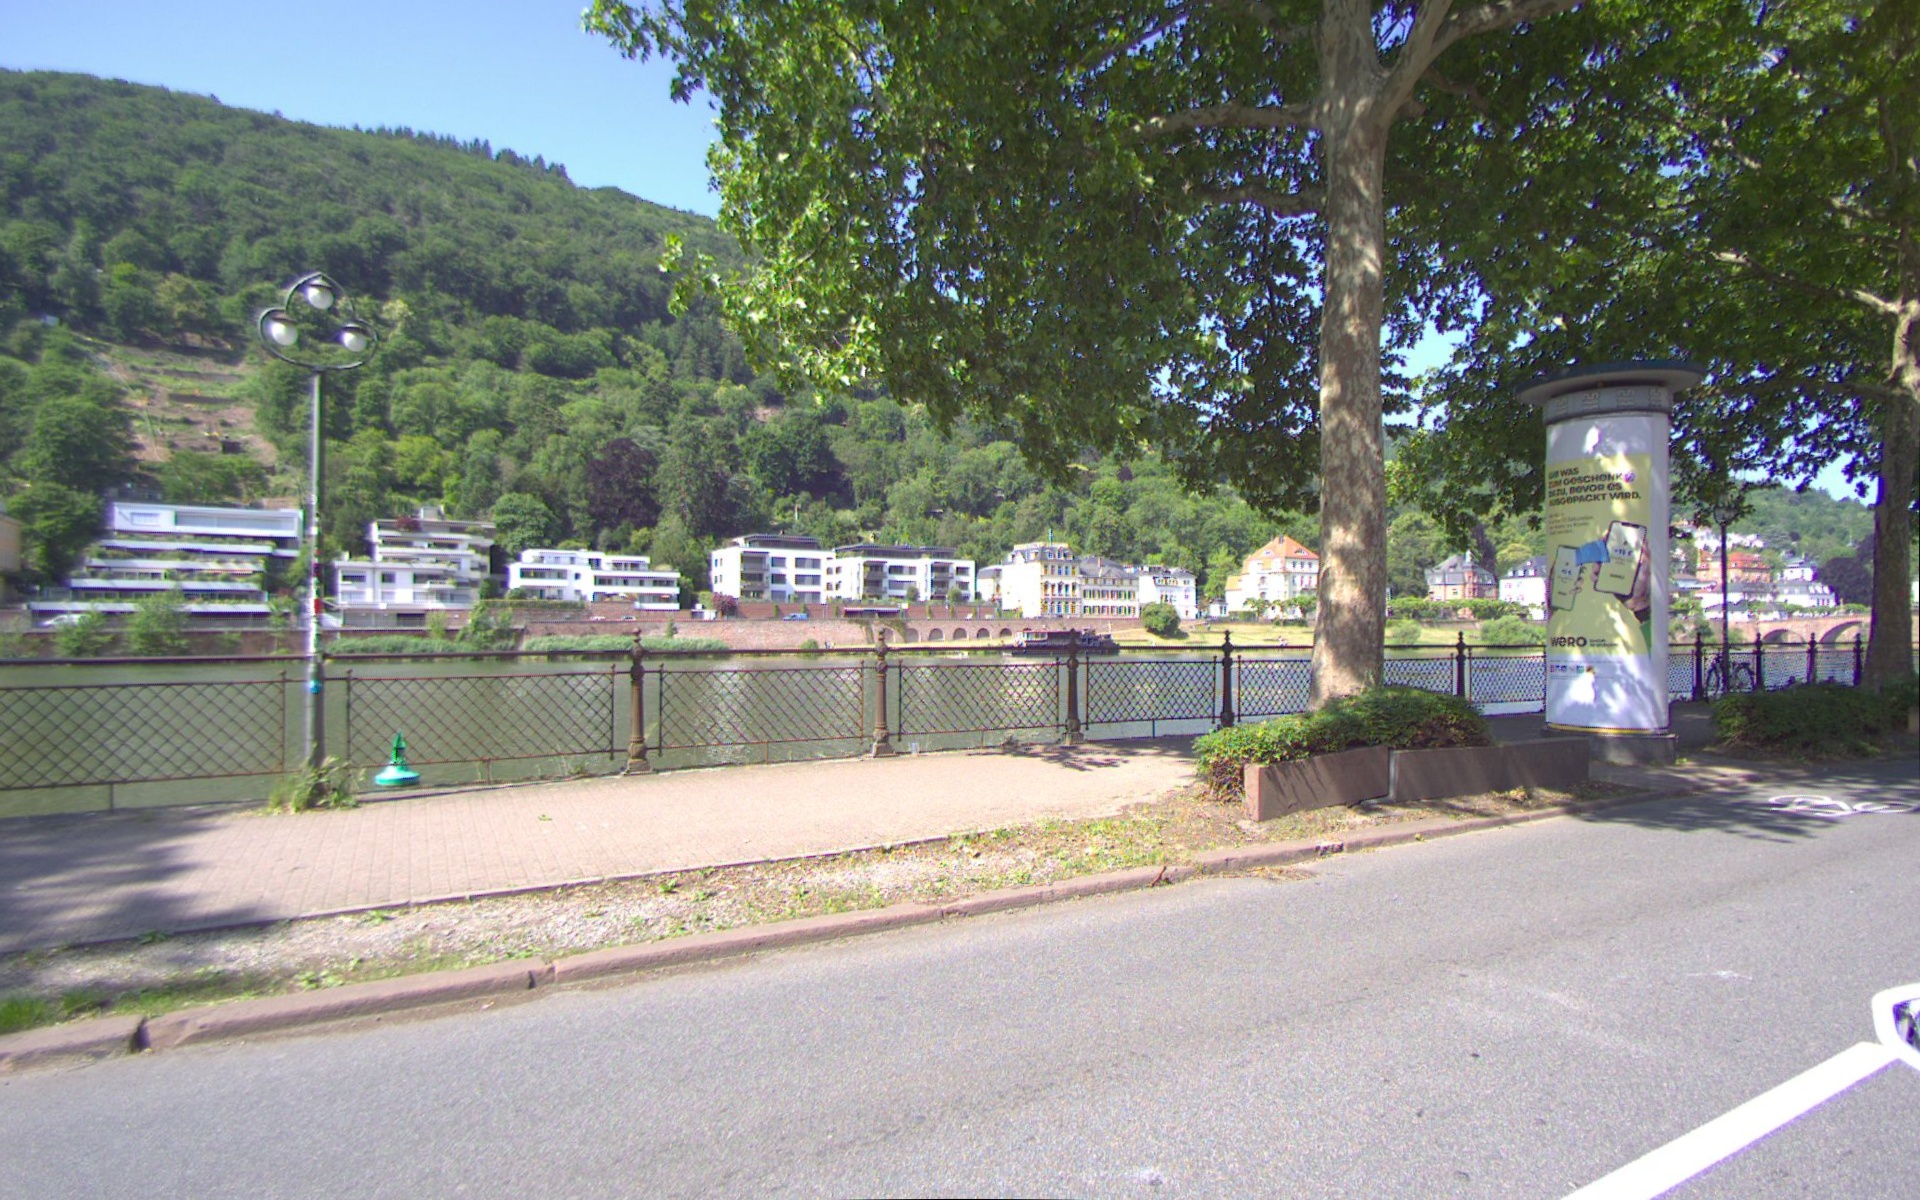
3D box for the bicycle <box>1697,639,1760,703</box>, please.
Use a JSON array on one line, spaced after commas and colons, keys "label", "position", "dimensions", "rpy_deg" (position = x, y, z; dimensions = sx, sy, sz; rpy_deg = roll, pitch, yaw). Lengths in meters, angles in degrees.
[{"label": "bicycle", "position": [14.704, 1.334, 19.204], "dimensions": [1.806, 1.177, 0.355], "rpy_deg": [1, -3, -33]}]
